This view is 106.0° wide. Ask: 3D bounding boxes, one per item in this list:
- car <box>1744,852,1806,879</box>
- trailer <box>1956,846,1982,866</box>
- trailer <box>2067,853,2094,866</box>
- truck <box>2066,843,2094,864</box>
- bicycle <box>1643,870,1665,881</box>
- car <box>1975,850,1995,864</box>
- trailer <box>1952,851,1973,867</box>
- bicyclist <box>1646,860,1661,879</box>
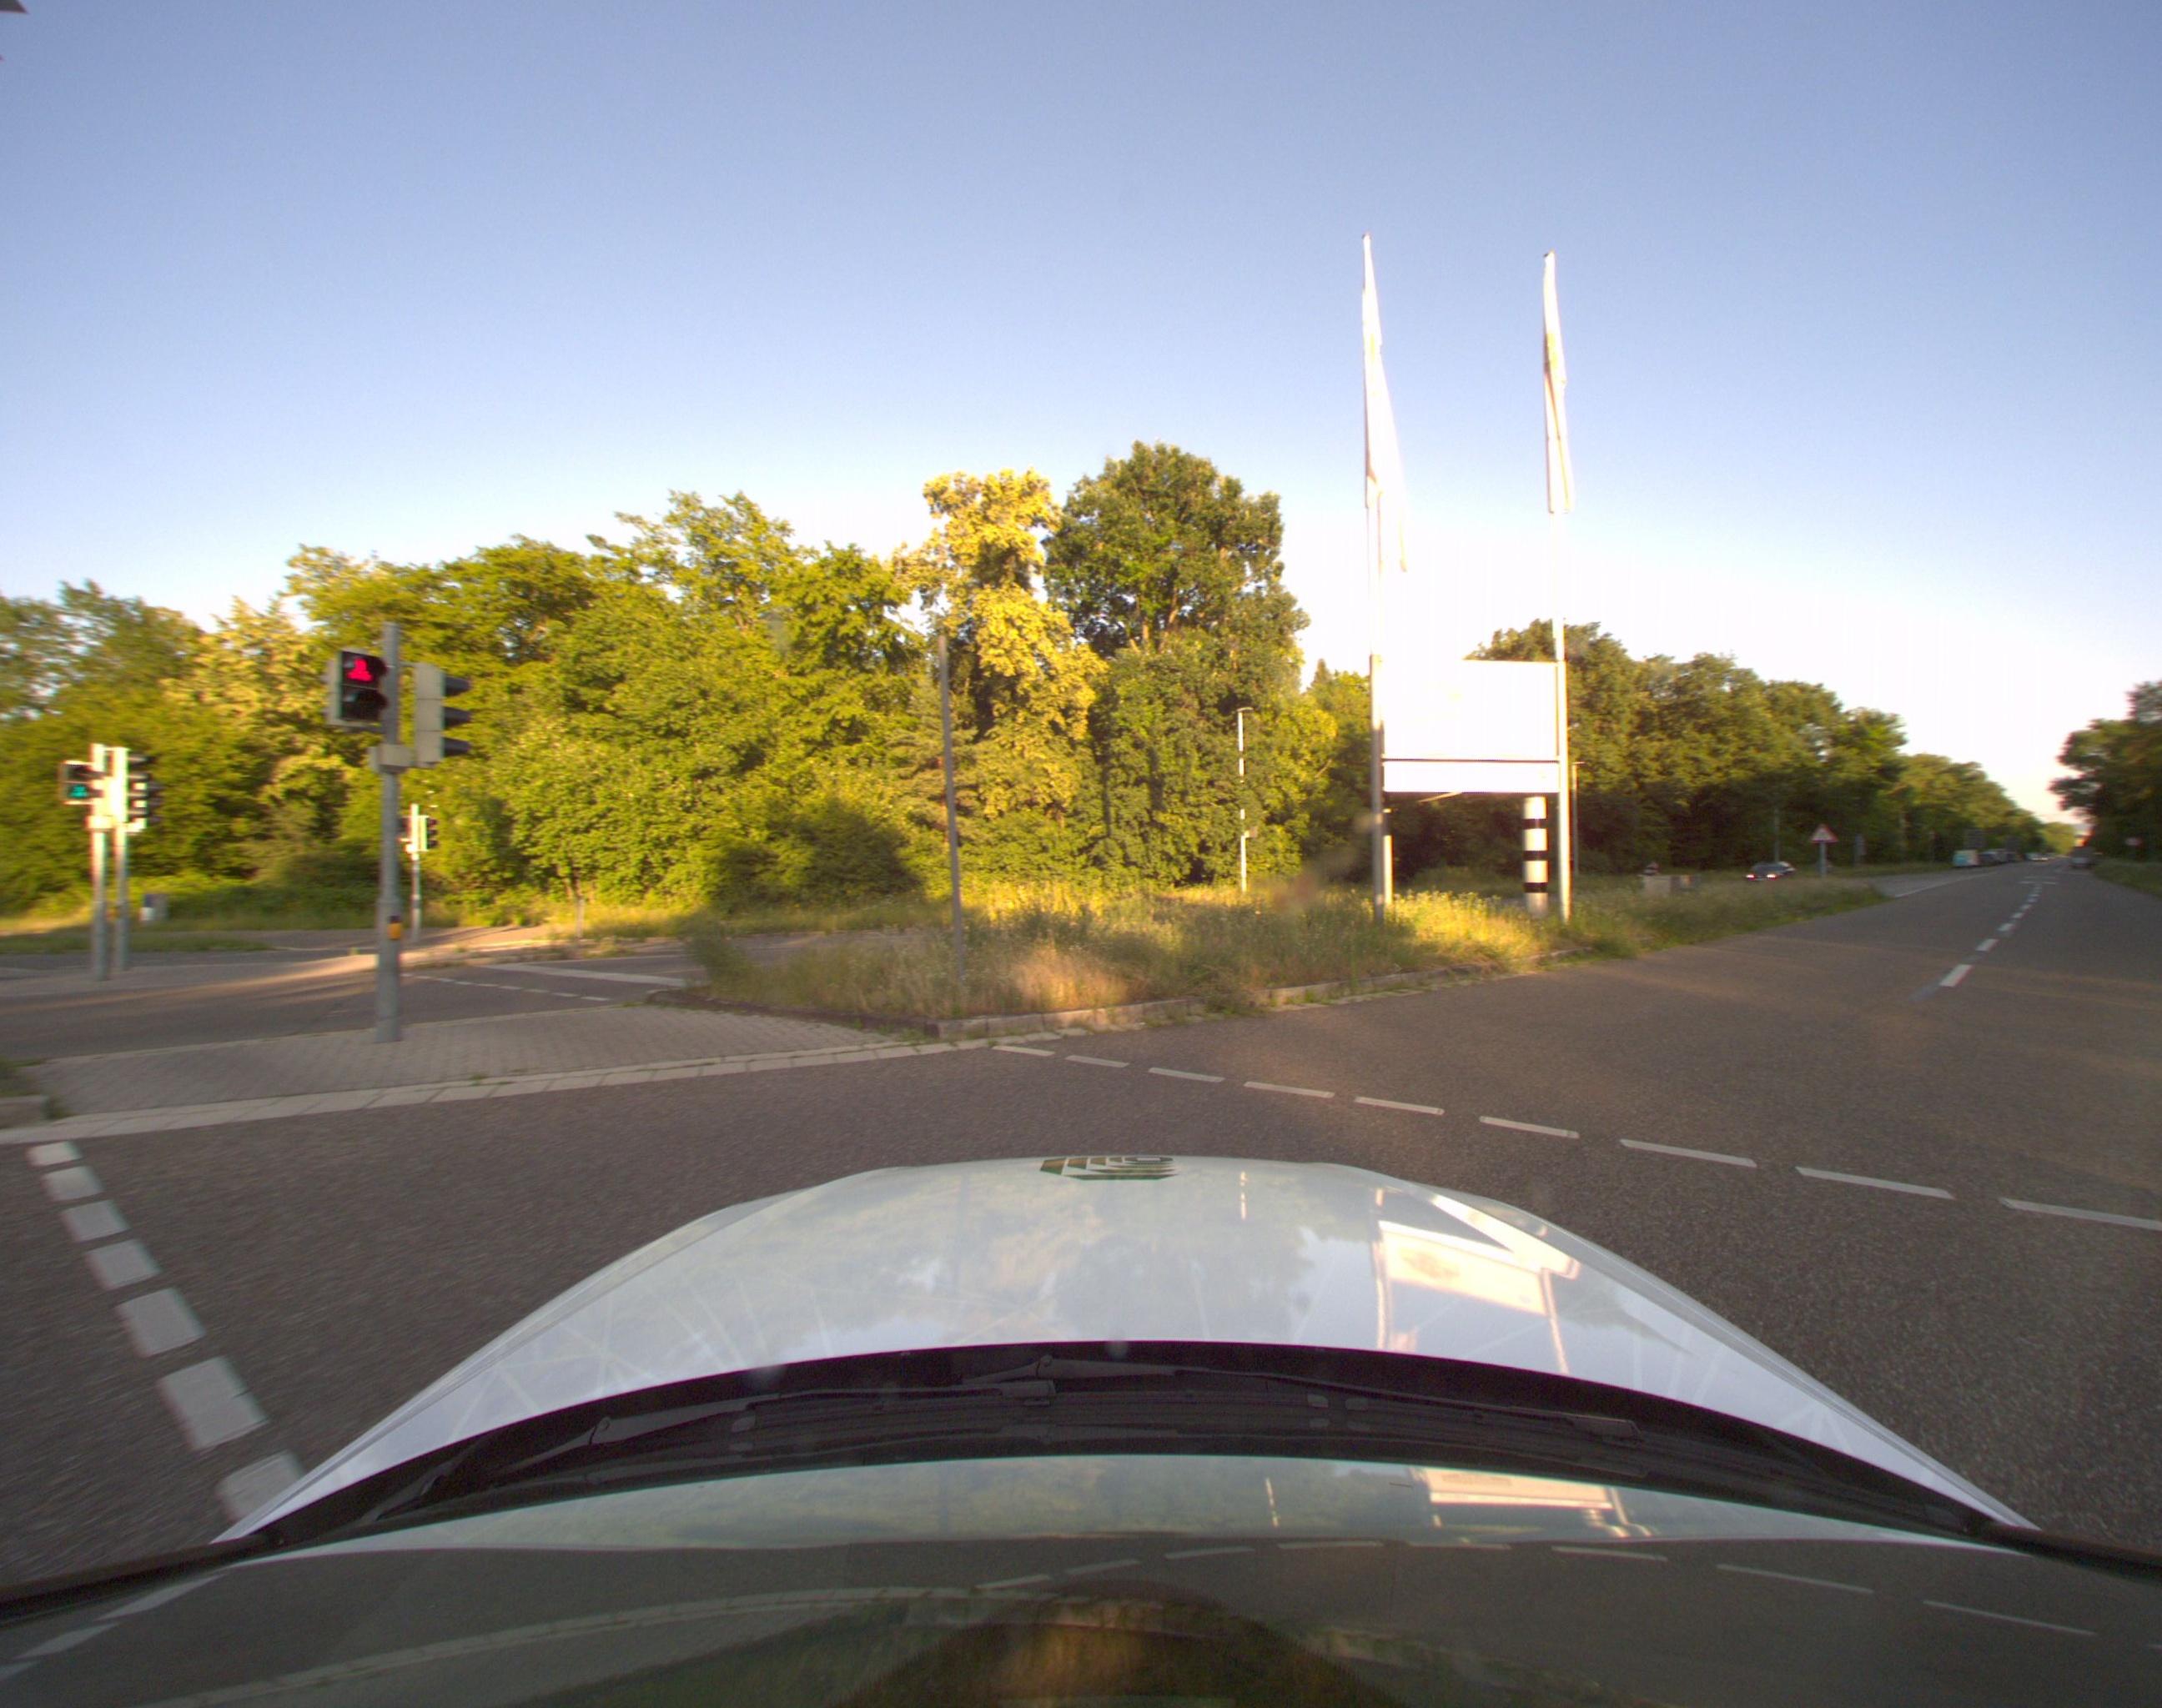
[{"bbox_3d":[42.708,0.707,50.092,4.474,1.534,1.805,0,-3,-35],"label":"car"},{"bbox_3d":[138.219,0.344,126.695,5.655,2.925,2.306,0,-3,-40],"label":"trailer"},{"bbox_3d":[132.833,0.706,108.222,3.784,1.662,1.448,0,-2,-26],"label":"trailer"},{"bbox_3d":[157.876,-0.107,128.685,7.254,3.255,2.568,0,0,-38],"label":"truck"},{"bbox_3d":[43.288,1.627,61.483,1.965,0.804,0.582,0,-2,-31],"label":"bicycle"},{"bbox_3d":[158.911,0.575,143.178,5.794,2.365,1.976,0,-4,-39],"label":"car"},{"bbox_3d":[126.205,0.682,116.595,4.164,2.168,1.802,0,-2,-40],"label":"trailer"},{"bbox_3d":[43.099,1.170,61.300,0.825,1.430,0.582,0,-2,-31],"label":"bicyclist"}]
